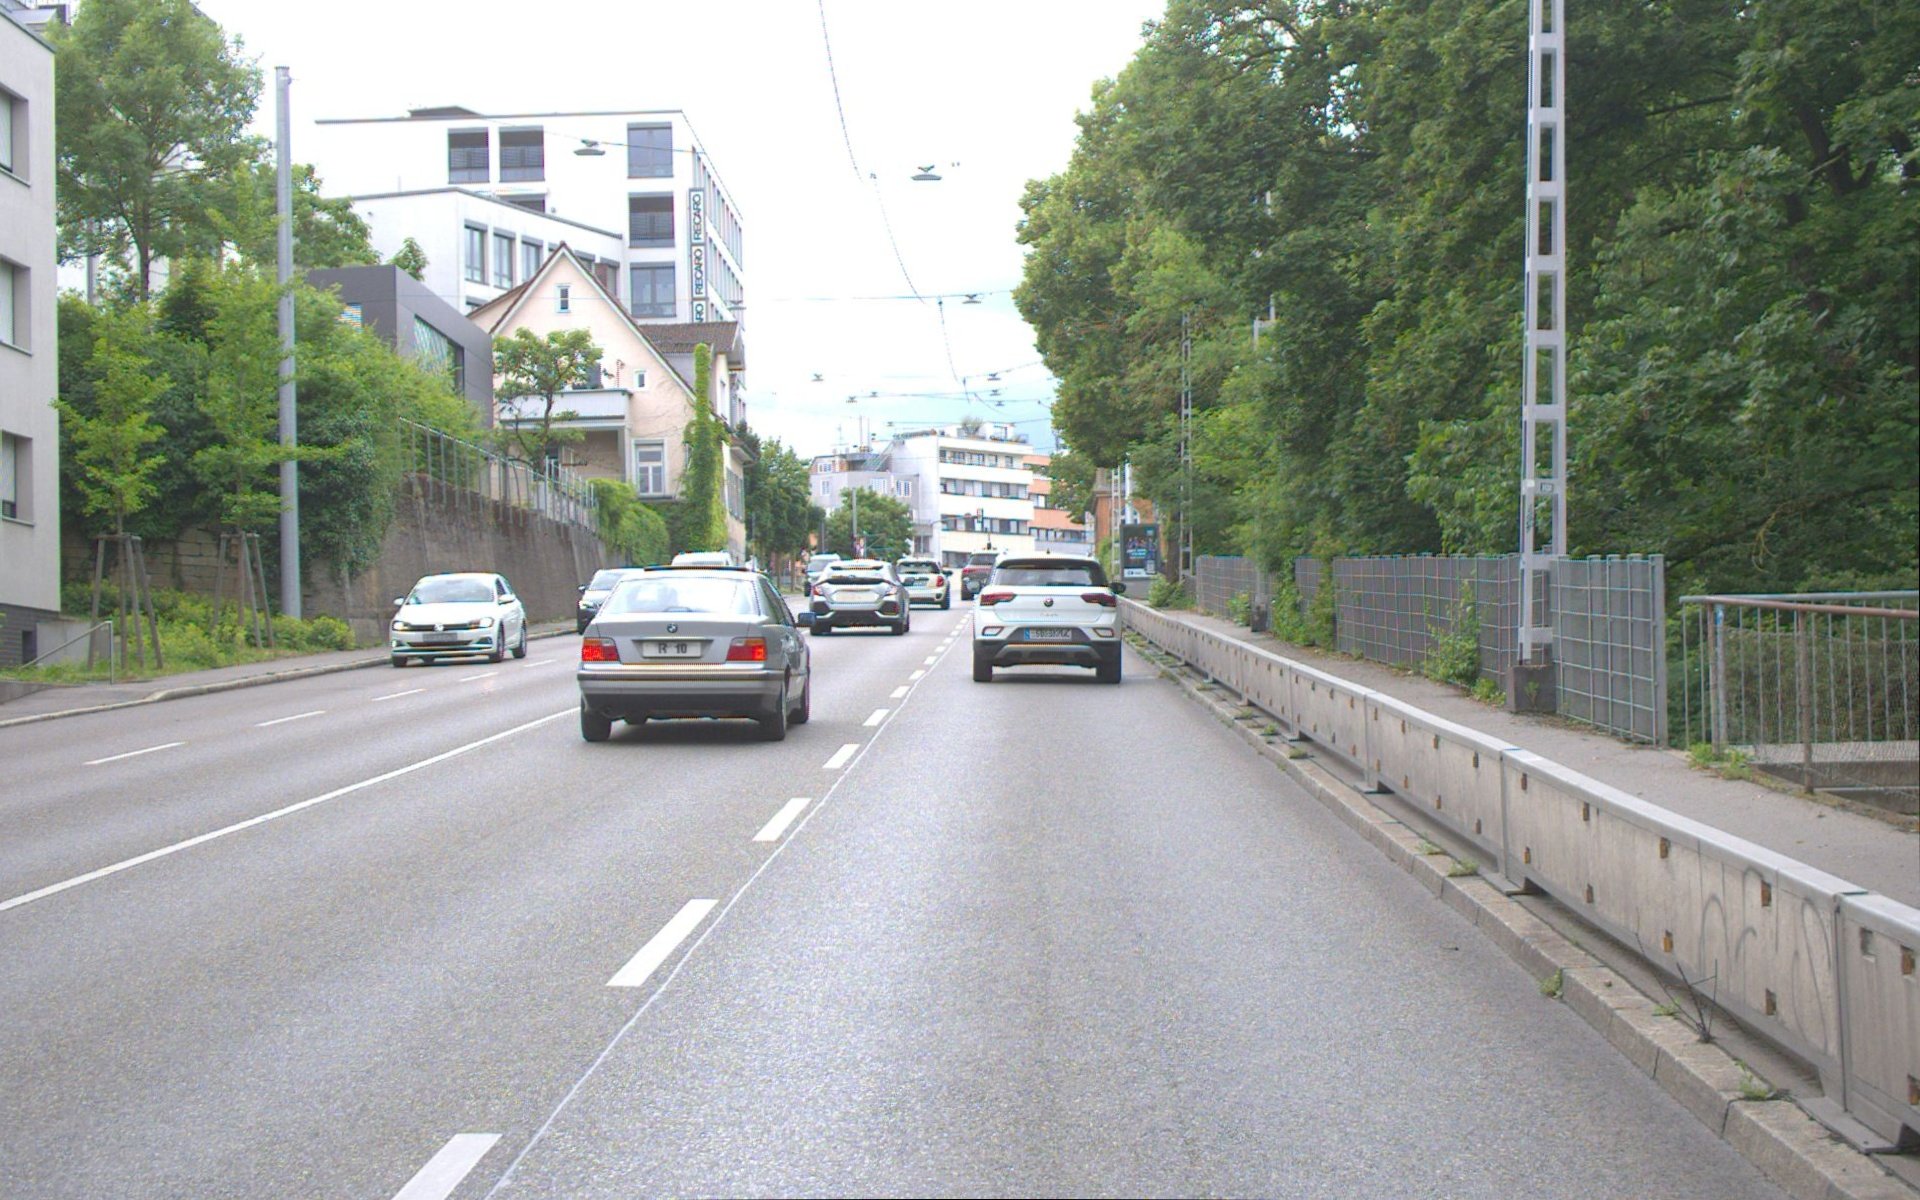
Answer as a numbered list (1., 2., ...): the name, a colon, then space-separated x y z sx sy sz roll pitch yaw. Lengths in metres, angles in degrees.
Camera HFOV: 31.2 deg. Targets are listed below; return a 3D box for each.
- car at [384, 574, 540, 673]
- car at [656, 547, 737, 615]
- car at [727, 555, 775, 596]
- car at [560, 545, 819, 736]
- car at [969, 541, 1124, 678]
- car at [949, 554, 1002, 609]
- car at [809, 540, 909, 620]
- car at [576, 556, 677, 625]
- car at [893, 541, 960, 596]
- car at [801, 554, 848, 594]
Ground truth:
1. car: -7.961 0.344 55.314 1.773 1.459 4.191 -2 1 1
2. car: -7.288 -0.544 95.511 1.733 1.782 4.867 -2 1 1
3. car: -9.136 -1.081 150.556 1.993 1.695 4.000 1 1 -3
4. car: -2.172 0.318 28.560 1.706 1.459 4.000 0 0 2
5. car: 1.003 0.088 41.729 1.780 1.573 4.000 0 1 0
6. car: 0.526 -0.615 113.149 1.656 1.759 3.287 0 0 2
7. car: -1.925 -0.397 66.337 1.706 1.459 4.000 -1 1 1
8. car: -7.611 -0.242 78.799 1.733 1.459 4.424 -2 1 1
9. car: -0.905 -0.879 95.431 1.706 1.459 4.000 -1 1 1
10. car: -6.046 -1.173 154.109 1.816 1.778 4.495 0 1 1
